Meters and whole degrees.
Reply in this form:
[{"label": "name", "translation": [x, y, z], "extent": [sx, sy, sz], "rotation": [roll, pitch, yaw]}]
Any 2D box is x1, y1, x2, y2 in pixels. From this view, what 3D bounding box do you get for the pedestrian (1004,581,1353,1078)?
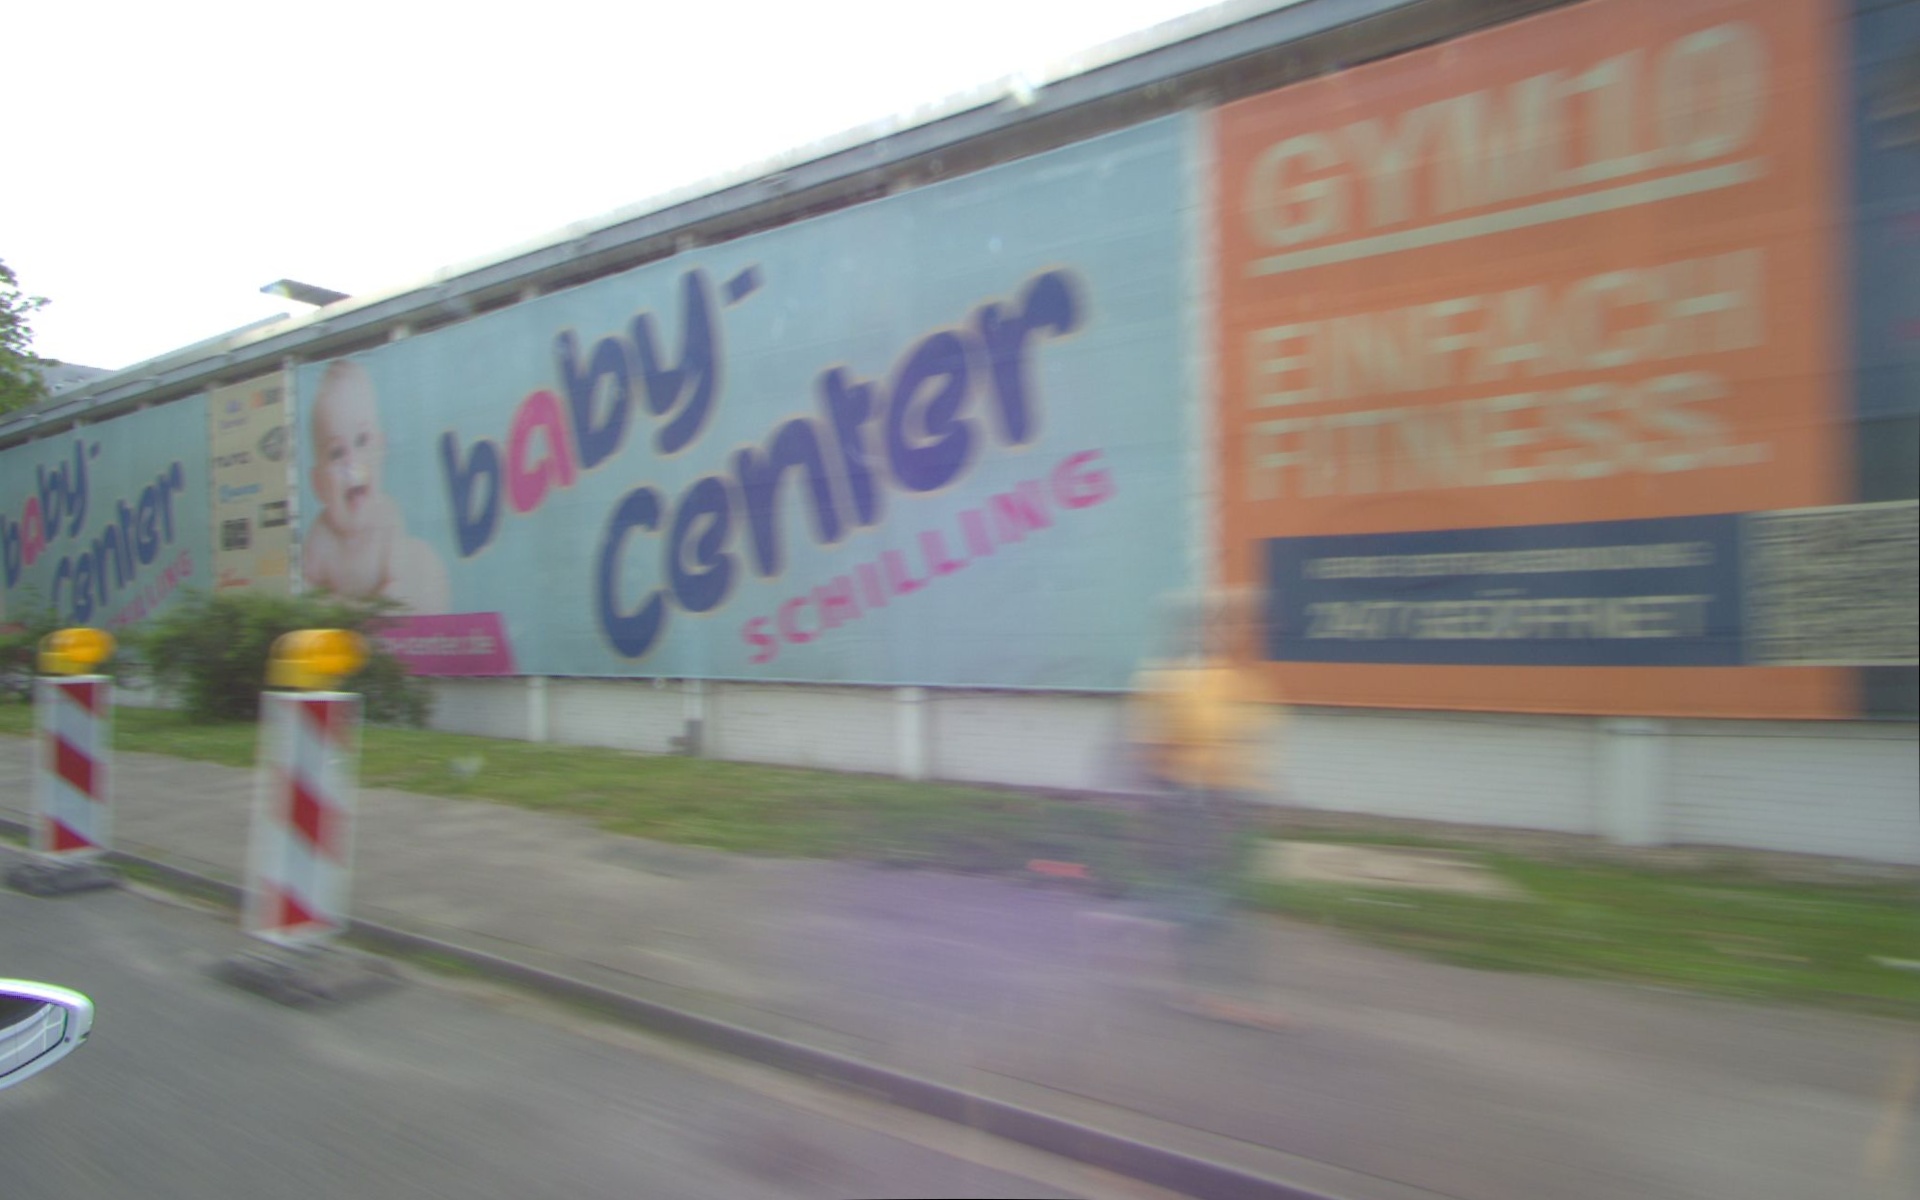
[{"label": "pedestrian", "translation": [0.815, 0.731, 3.690], "extent": [1.112, 1.554, 0.681], "rotation": [-1, 0, 27]}]
